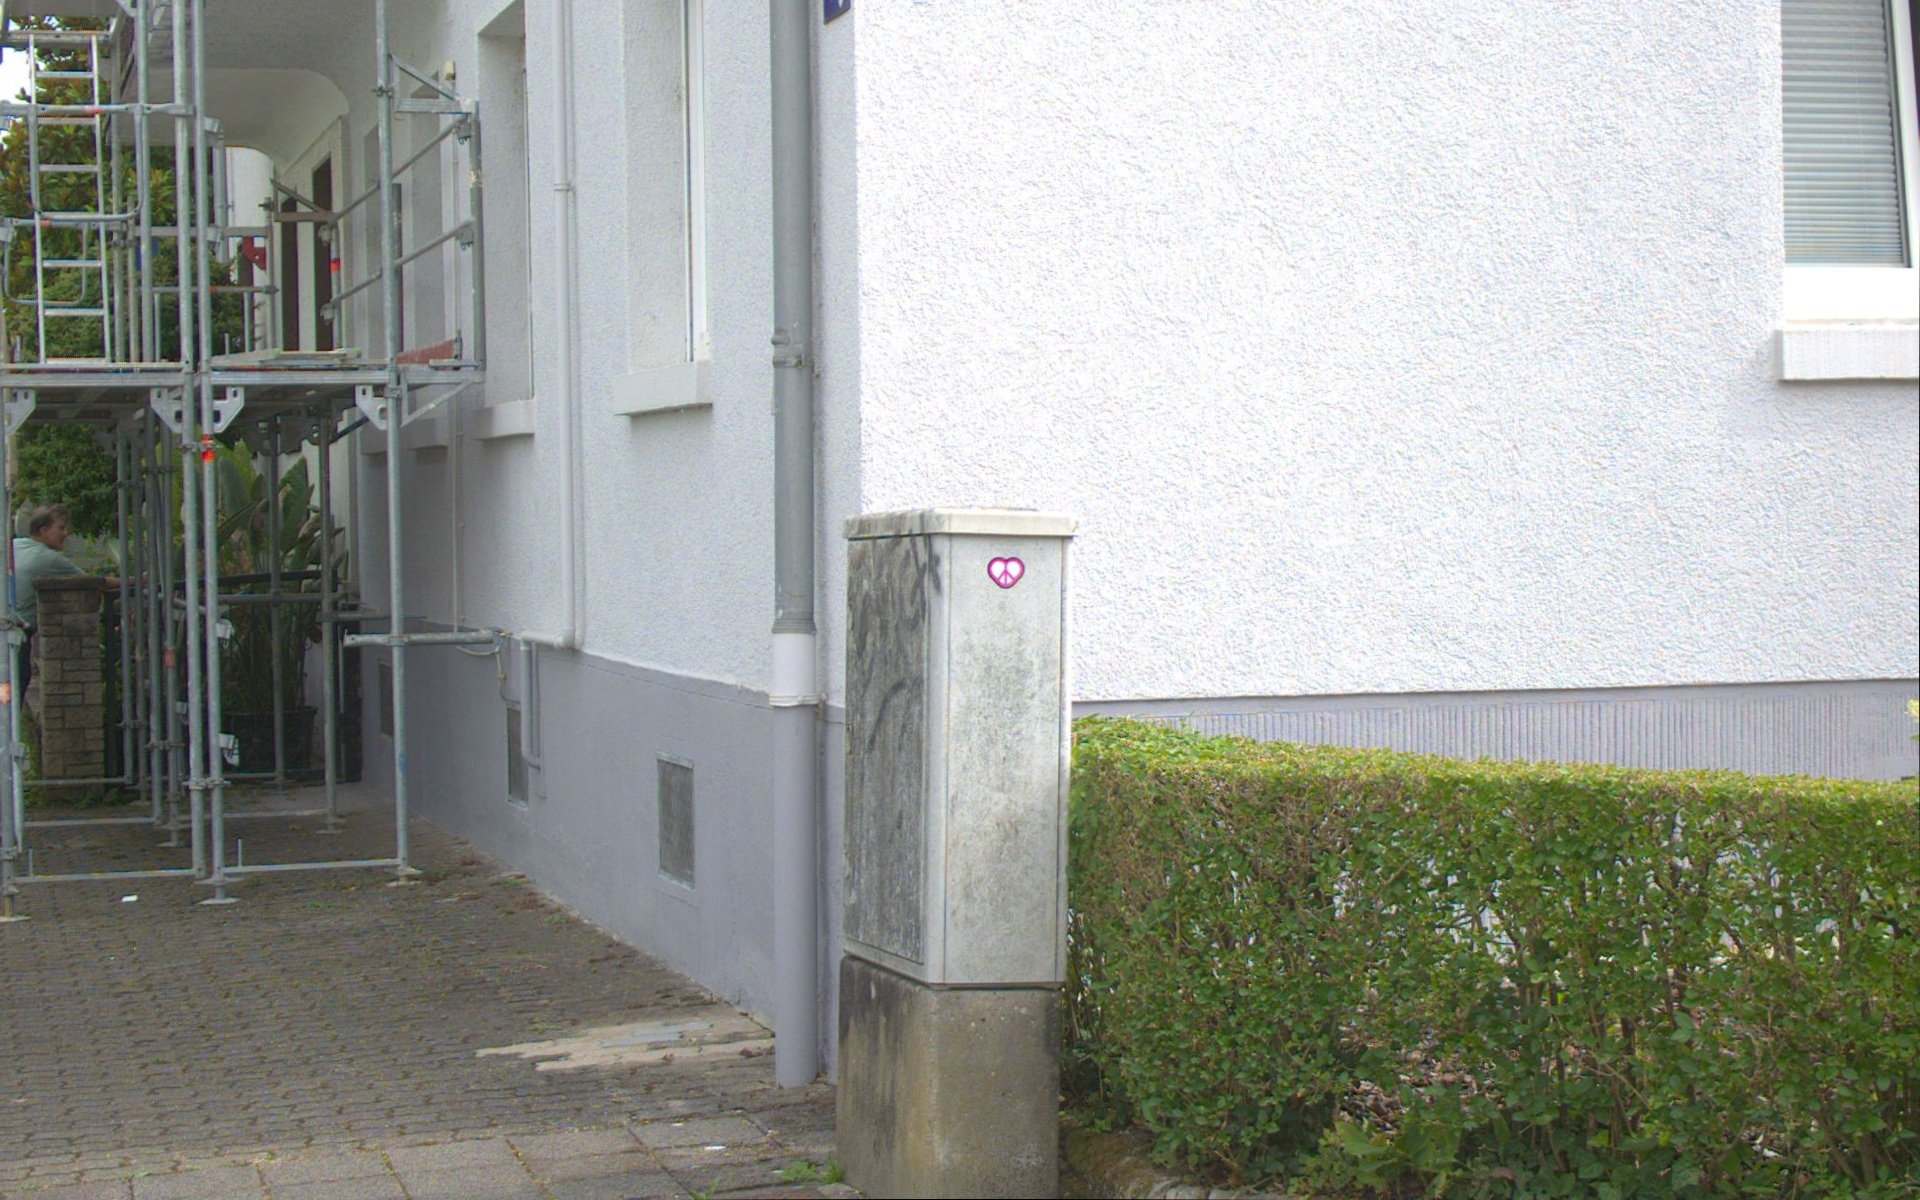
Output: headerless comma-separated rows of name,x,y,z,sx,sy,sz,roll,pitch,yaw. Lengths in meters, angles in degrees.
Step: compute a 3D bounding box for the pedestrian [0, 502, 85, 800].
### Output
pedestrian,-5.218,0.281,19.181,0.601,1.623,0.625,-2,0,-15
